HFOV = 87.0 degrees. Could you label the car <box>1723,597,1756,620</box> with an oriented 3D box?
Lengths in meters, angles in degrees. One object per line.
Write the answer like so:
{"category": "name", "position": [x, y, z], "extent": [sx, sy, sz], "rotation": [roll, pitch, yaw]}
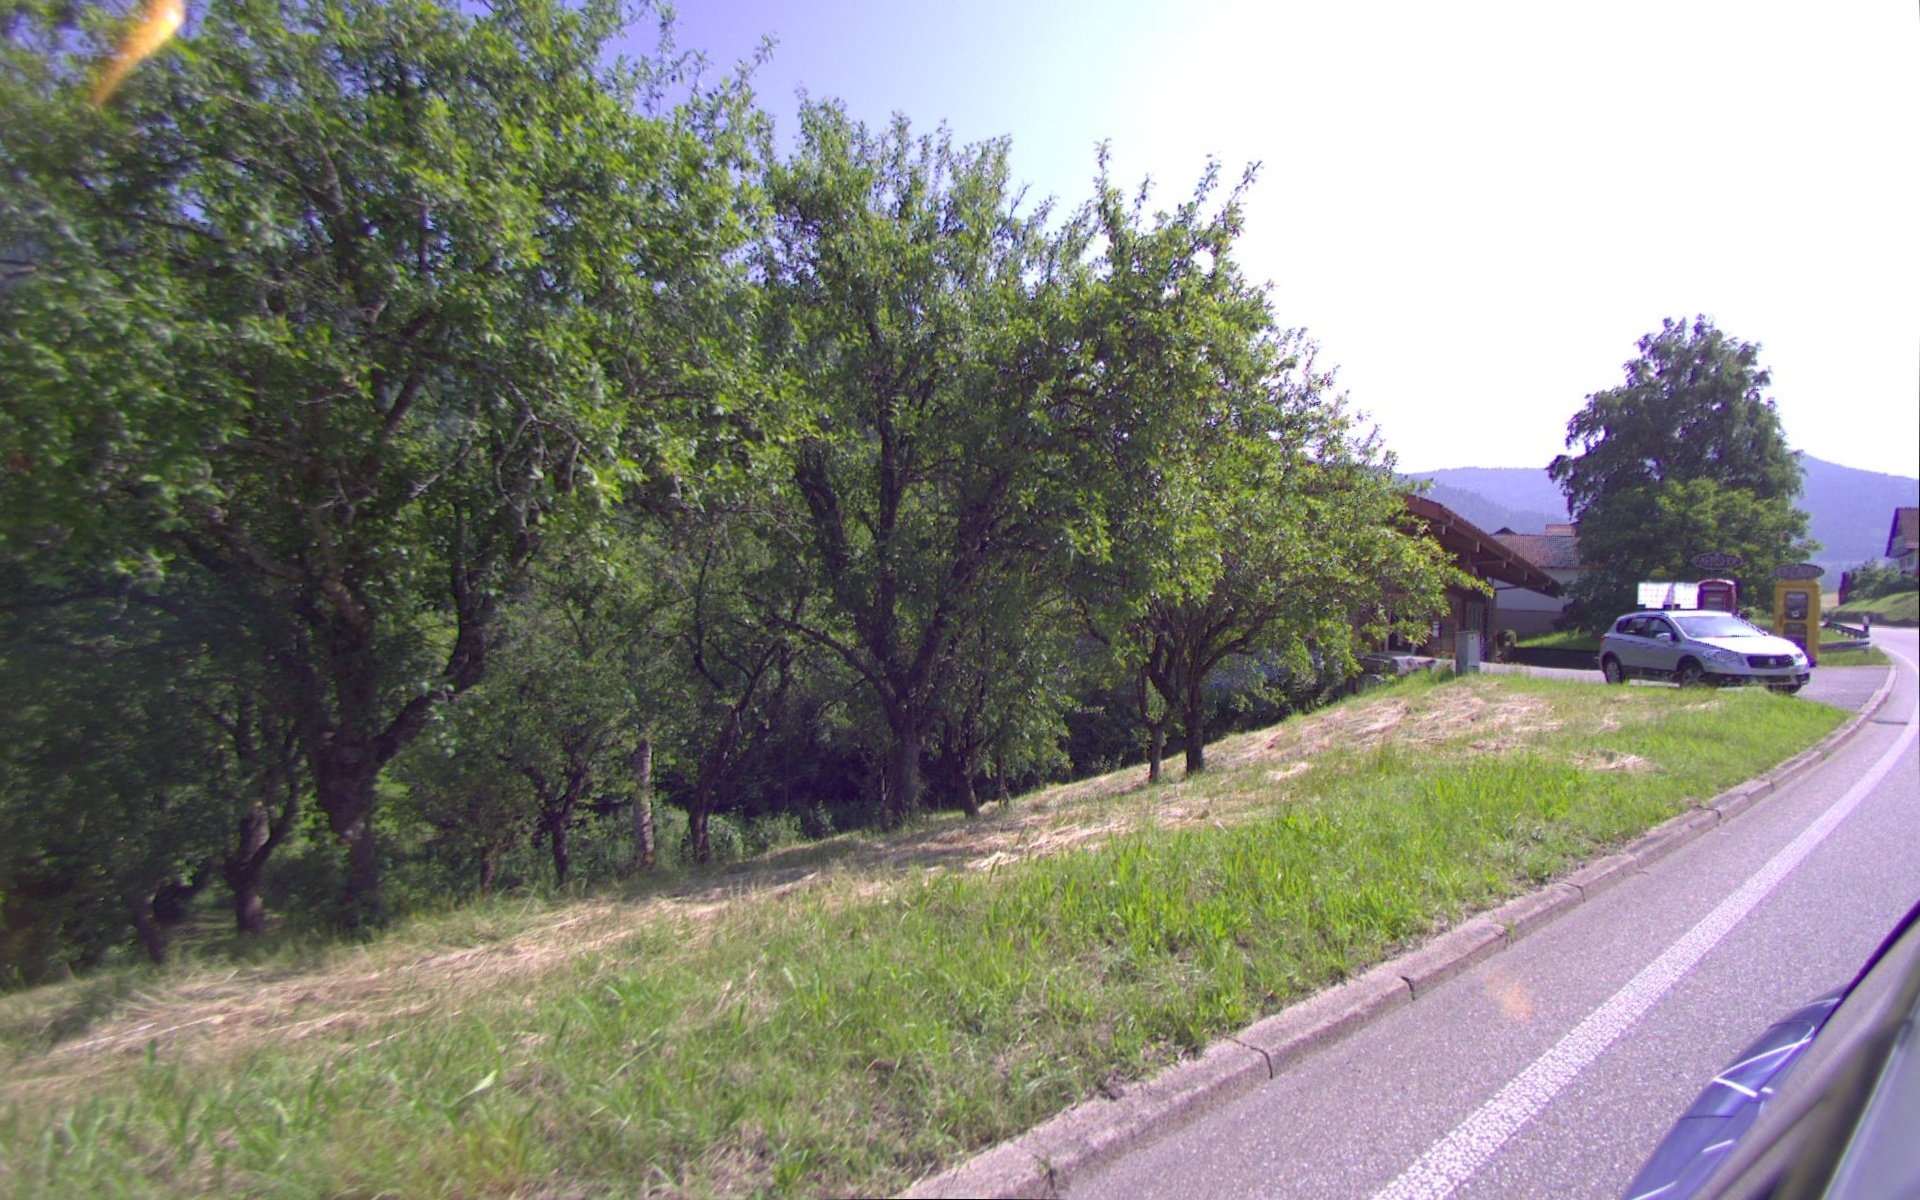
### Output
{"category": "car", "position": [65.871, 0.724, 85.483], "extent": [1.808, 1.836, 4.590], "rotation": [3, 1, 43]}

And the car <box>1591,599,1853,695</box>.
{"category": "car", "position": [14.467, 0.874, 19.618], "extent": [1.871, 1.591, 4.455], "rotation": [-2, -2, 4]}
